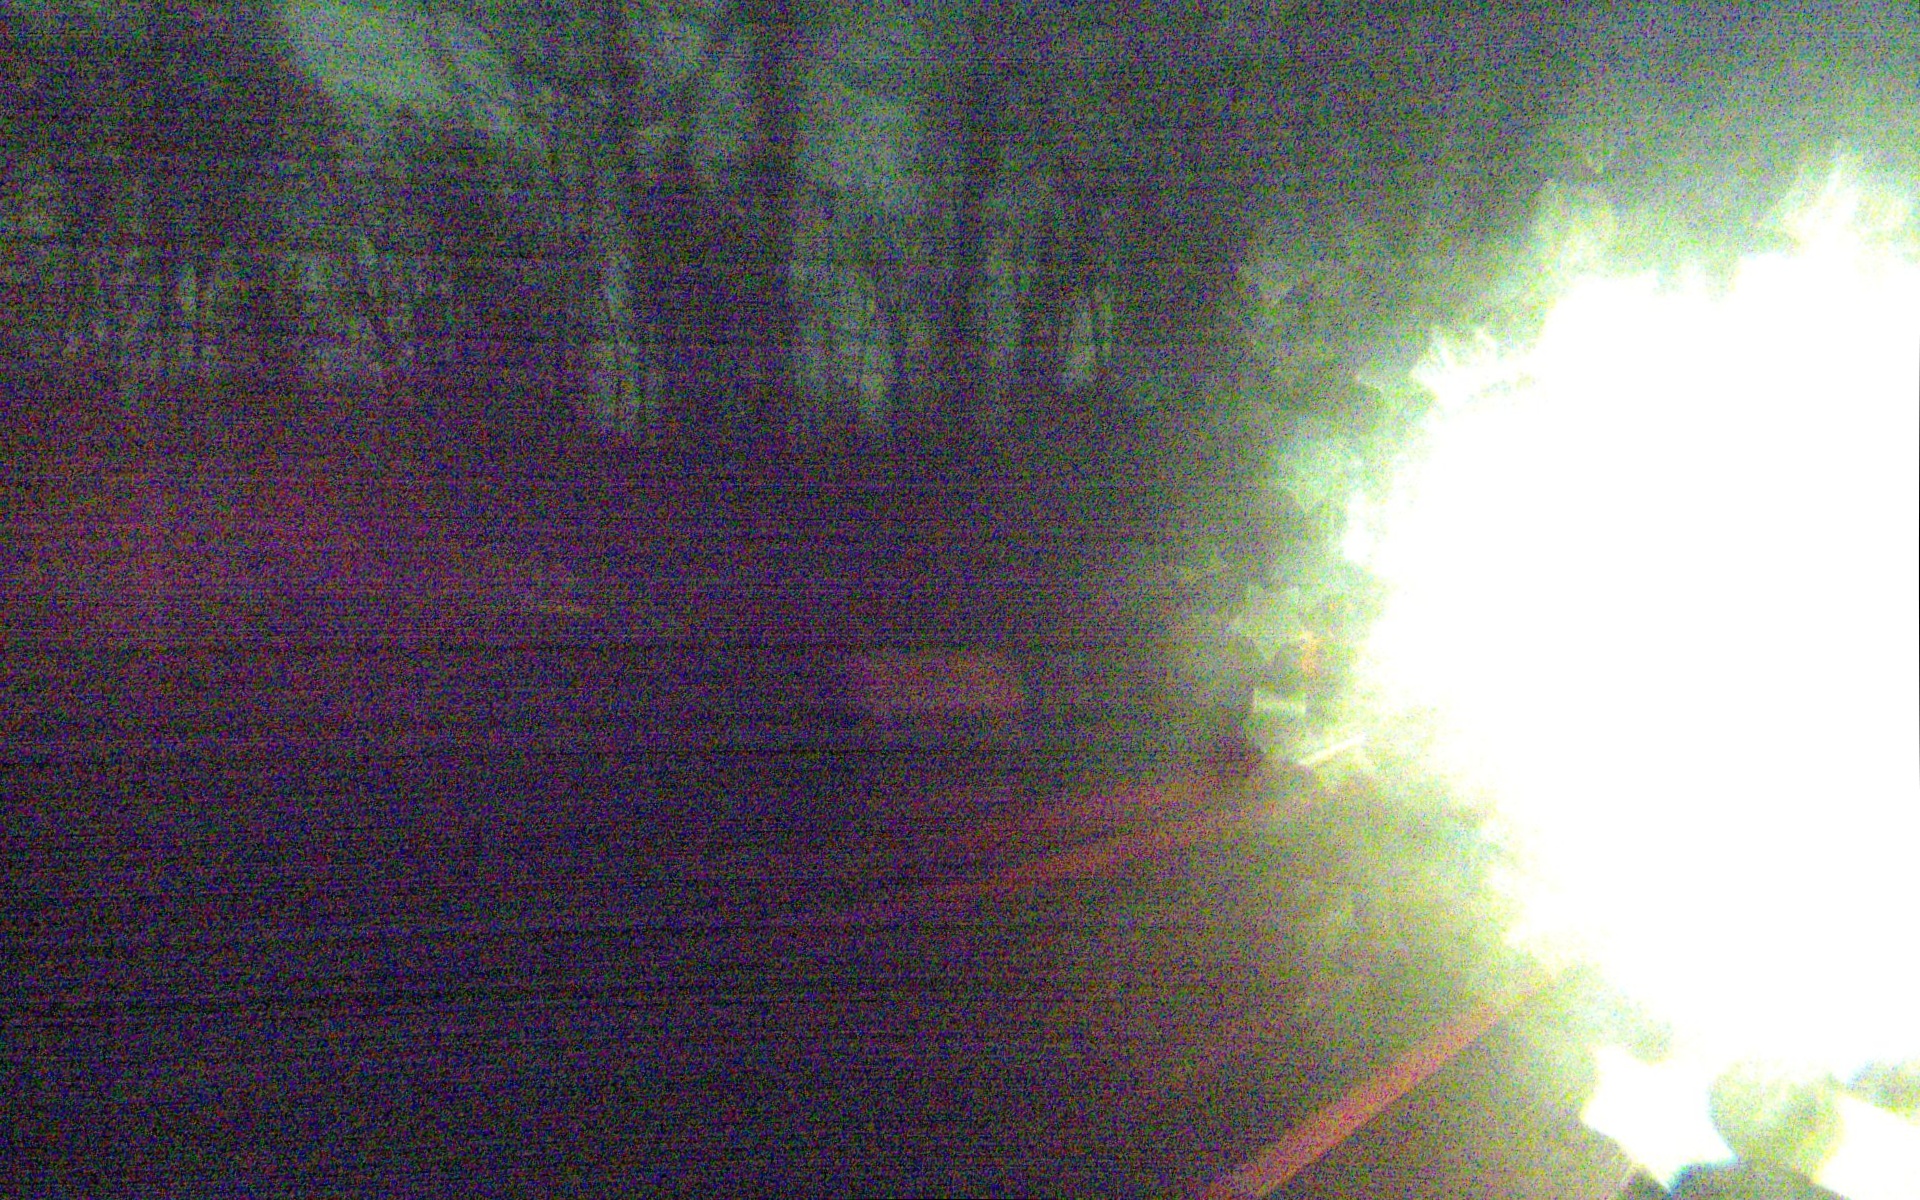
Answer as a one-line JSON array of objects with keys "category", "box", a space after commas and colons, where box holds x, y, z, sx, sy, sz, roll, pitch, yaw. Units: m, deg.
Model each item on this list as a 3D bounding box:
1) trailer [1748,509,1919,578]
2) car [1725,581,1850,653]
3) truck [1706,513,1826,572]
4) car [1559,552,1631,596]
[{"category": "trailer", "box": [56.443, -3.664, 64.582, 3.393, 3.924, 13.342, 0, 4, 8]}, {"category": "car", "box": [23.264, 0.408, 28.624, 1.876, 1.631, 3.964, 2, 5, 27]}, {"category": "truck", "box": [57.618, -4.097, 72.671, 3.353, 4.021, 7.443, 1, 3, 9]}, {"category": "car", "box": [32.655, -1.307, 52.164, 1.972, 2.039, 3.981, -3, 0, 16]}]
